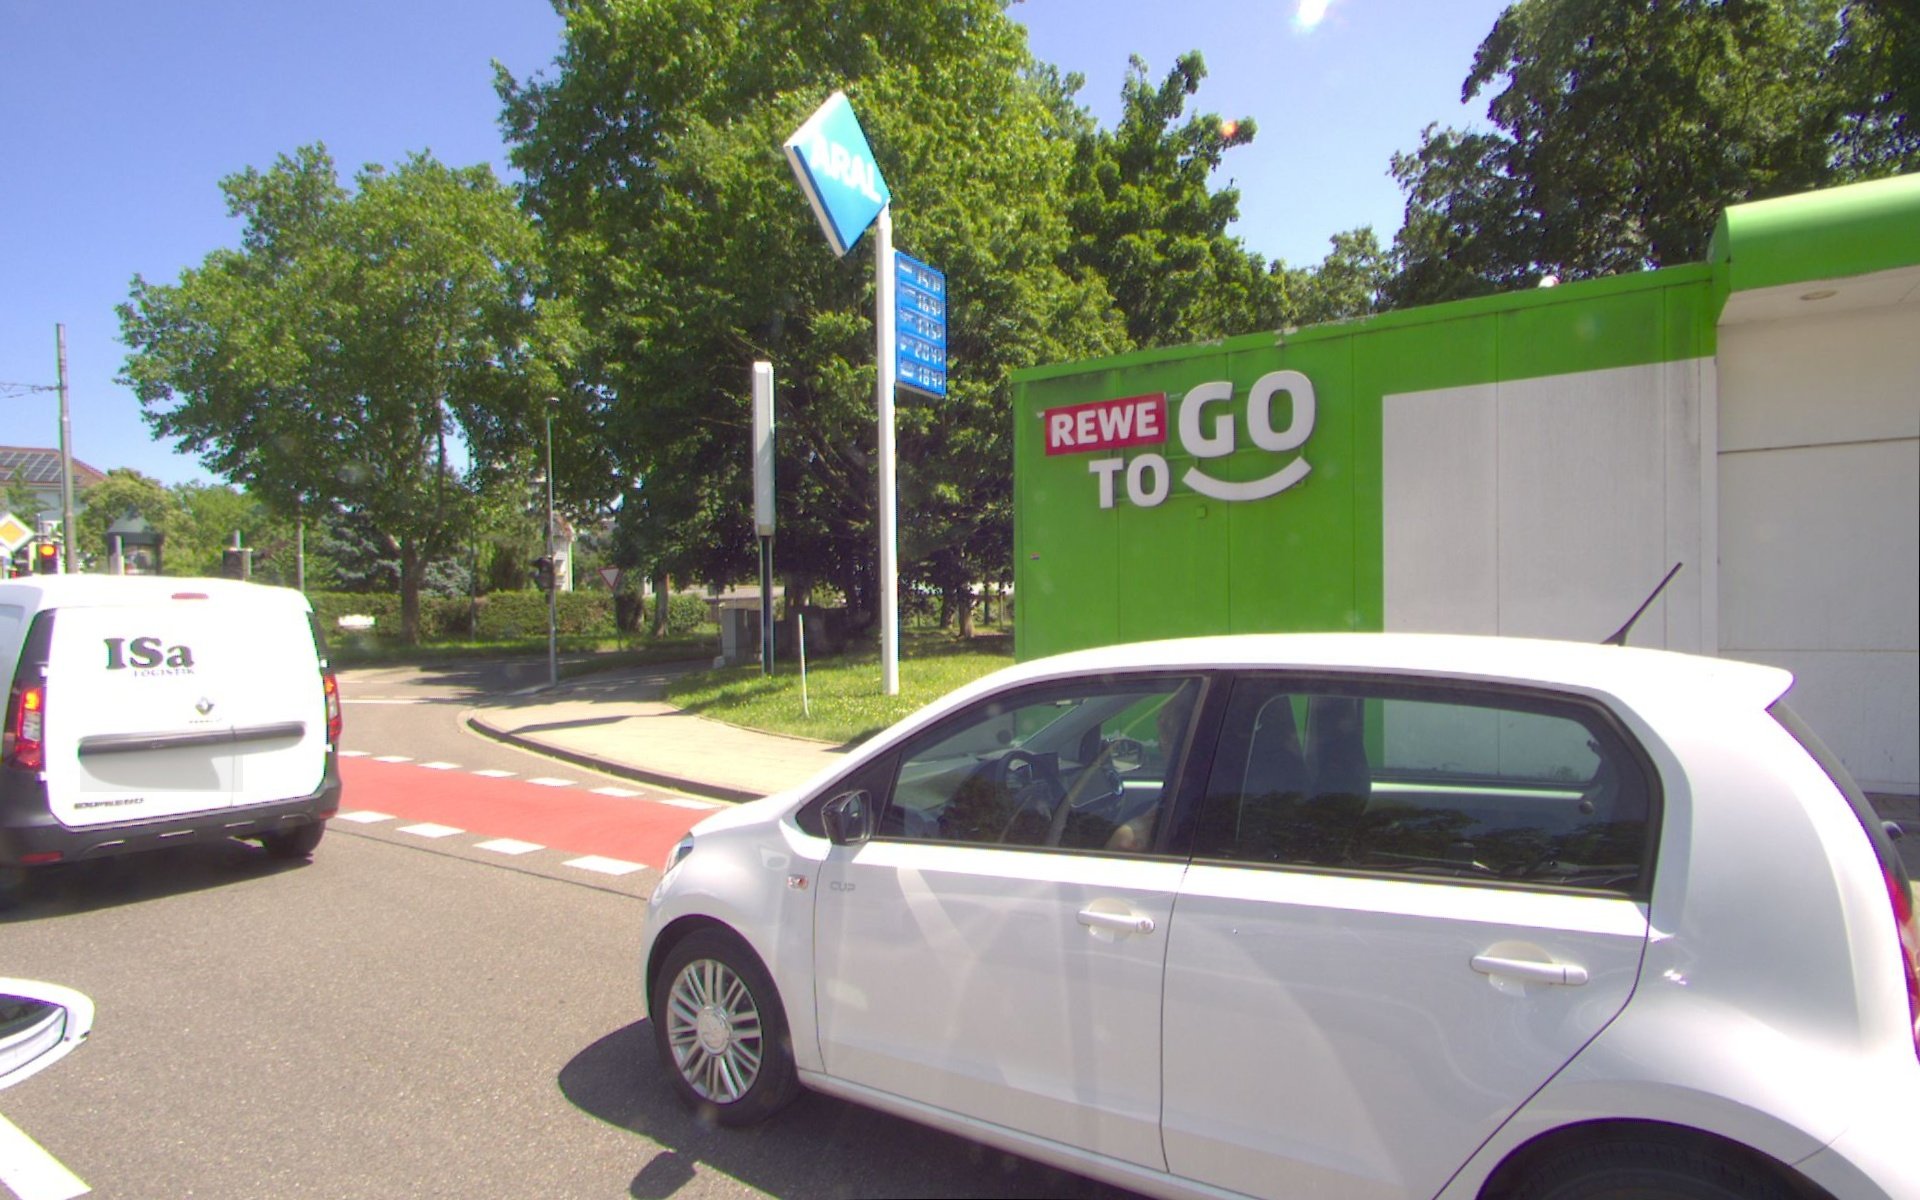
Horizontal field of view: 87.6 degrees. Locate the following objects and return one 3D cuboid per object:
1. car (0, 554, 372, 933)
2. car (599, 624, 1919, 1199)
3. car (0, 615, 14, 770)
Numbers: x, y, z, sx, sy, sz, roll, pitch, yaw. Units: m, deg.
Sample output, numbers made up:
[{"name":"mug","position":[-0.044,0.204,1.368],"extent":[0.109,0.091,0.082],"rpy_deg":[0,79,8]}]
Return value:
[{"name":"car","position":[-5.838,0.742,6.583],"extent":[4.005,1.811,1.725],"rpy_deg":[-1,-2,31]},{"name":"car","position":[0.696,0.825,2.970],"extent":[3.387,1.466,1.606],"rpy_deg":[0,-1,33]},{"name":"car","position":[-11.950,0.940,10.644],"extent":[3.943,1.589,1.832],"rpy_deg":[0,-1,32]}]
